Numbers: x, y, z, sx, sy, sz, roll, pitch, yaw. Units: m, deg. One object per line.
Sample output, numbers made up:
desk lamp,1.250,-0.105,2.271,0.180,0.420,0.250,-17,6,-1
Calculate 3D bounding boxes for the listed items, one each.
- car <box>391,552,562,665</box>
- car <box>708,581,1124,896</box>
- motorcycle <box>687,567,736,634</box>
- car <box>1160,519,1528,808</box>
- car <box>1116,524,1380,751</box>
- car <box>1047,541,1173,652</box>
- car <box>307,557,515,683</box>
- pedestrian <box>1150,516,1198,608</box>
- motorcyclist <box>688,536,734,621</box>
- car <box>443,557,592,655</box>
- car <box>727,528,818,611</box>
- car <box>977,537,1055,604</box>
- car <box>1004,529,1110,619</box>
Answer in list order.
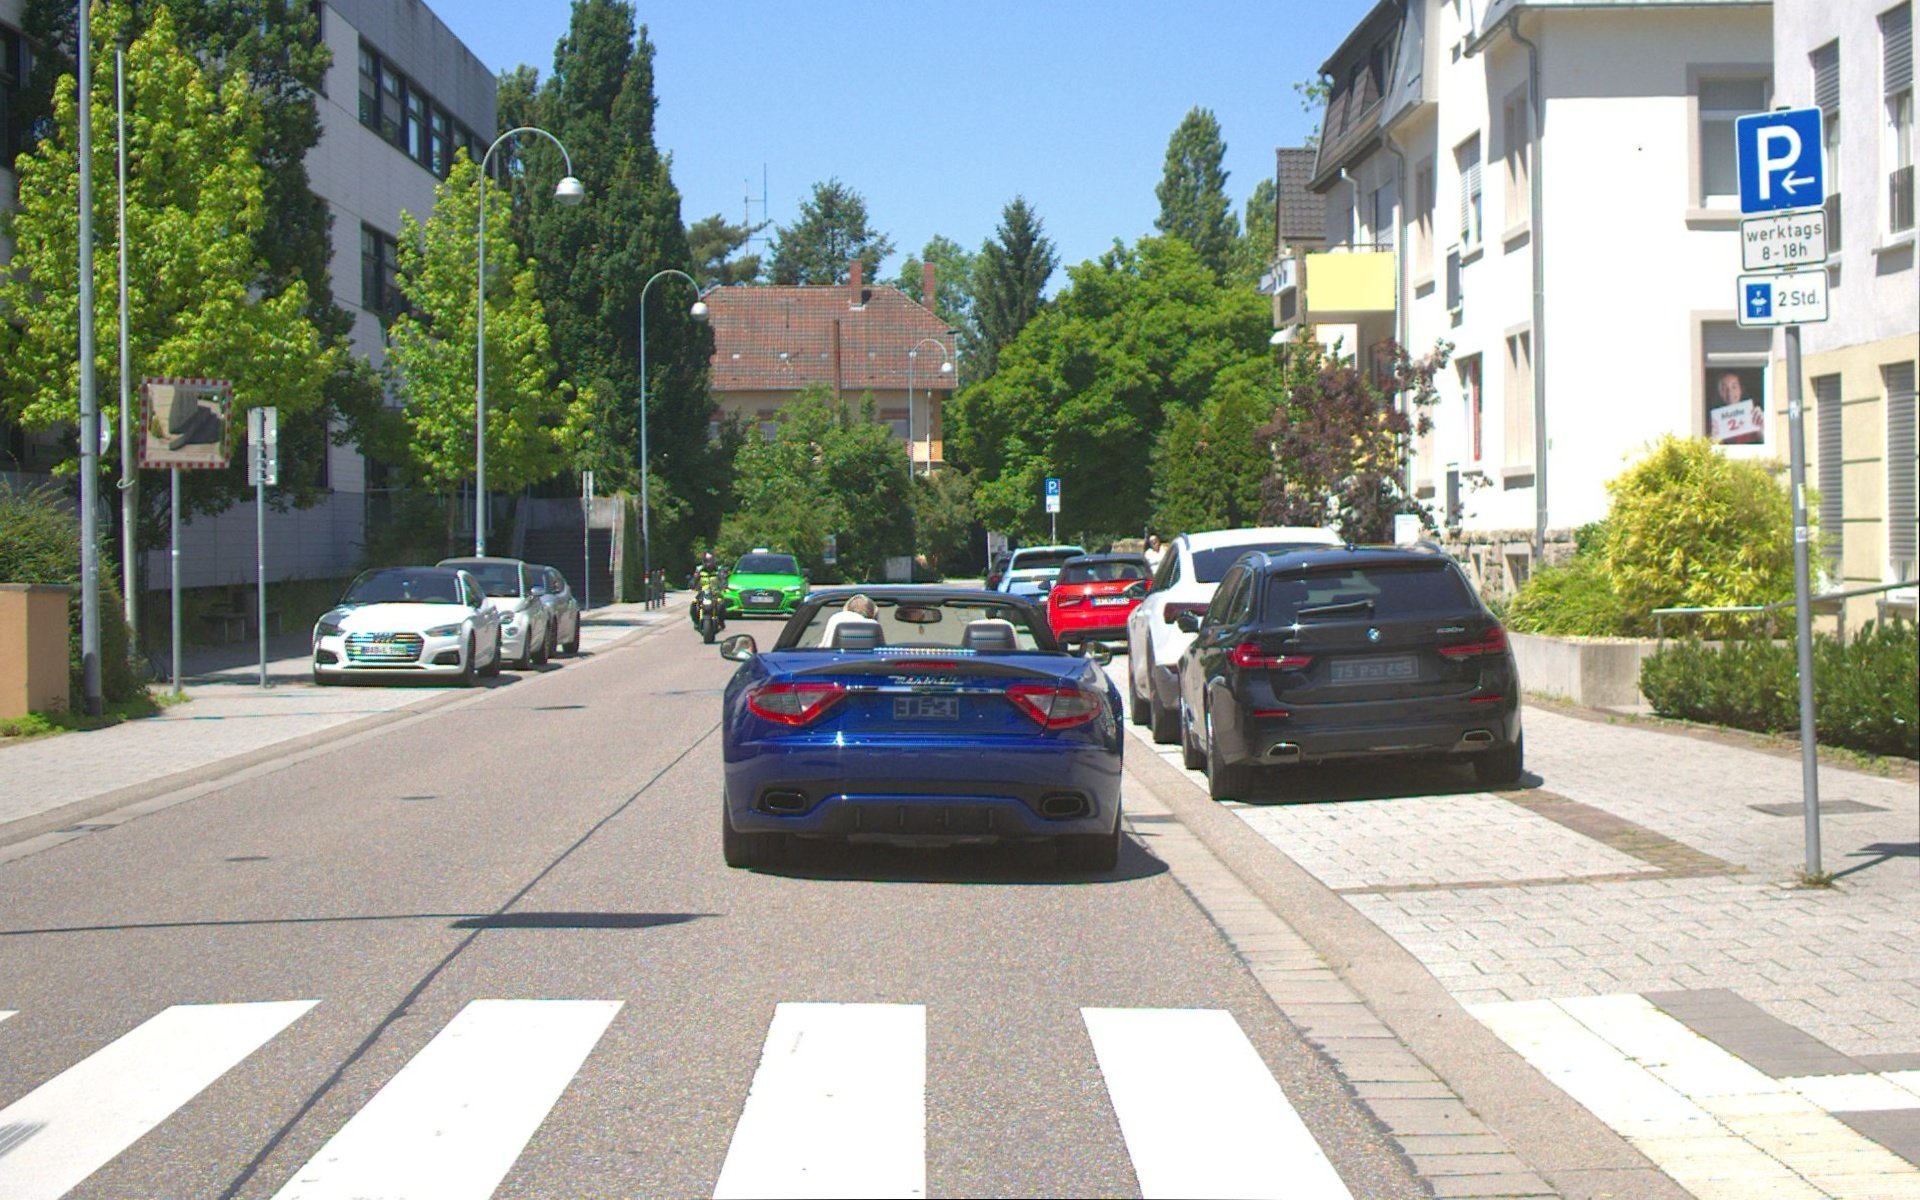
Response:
car,-6.671,0.083,47.829,1.822,1.507,4.290,0,1,-1
car,-0.227,0.605,17.661,1.826,1.332,4.700,1,1,-1
motorcycle,-4.280,0.006,59.320,0.699,1.103,1.790,-2,1,0
car,2.327,0.316,21.971,1.705,1.551,4.748,-3,1,0
car,2.268,0.236,28.114,1.705,1.660,4.580,-2,1,0
car,2.135,-0.080,49.634,1.603,1.436,3.853,-3,1,1
car,-6.643,0.203,42.033,1.822,1.406,4.577,1,1,-1
pedestrian,3.955,-0.705,63.584,0.740,1.664,0.706,-3,1,-2
motorcyclist,-4.286,-0.372,59.142,0.699,1.428,0.707,-2,1,0
car,-6.721,0.062,52.553,1.748,1.404,3.933,0,1,0
car,-4.122,-0.695,76.144,1.822,1.583,4.101,-1,4,-1
car,1.304,-0.720,81.100,1.631,1.441,4.398,-3,1,-1
car,1.834,-0.527,66.395,1.843,1.614,4.427,-2,1,0
